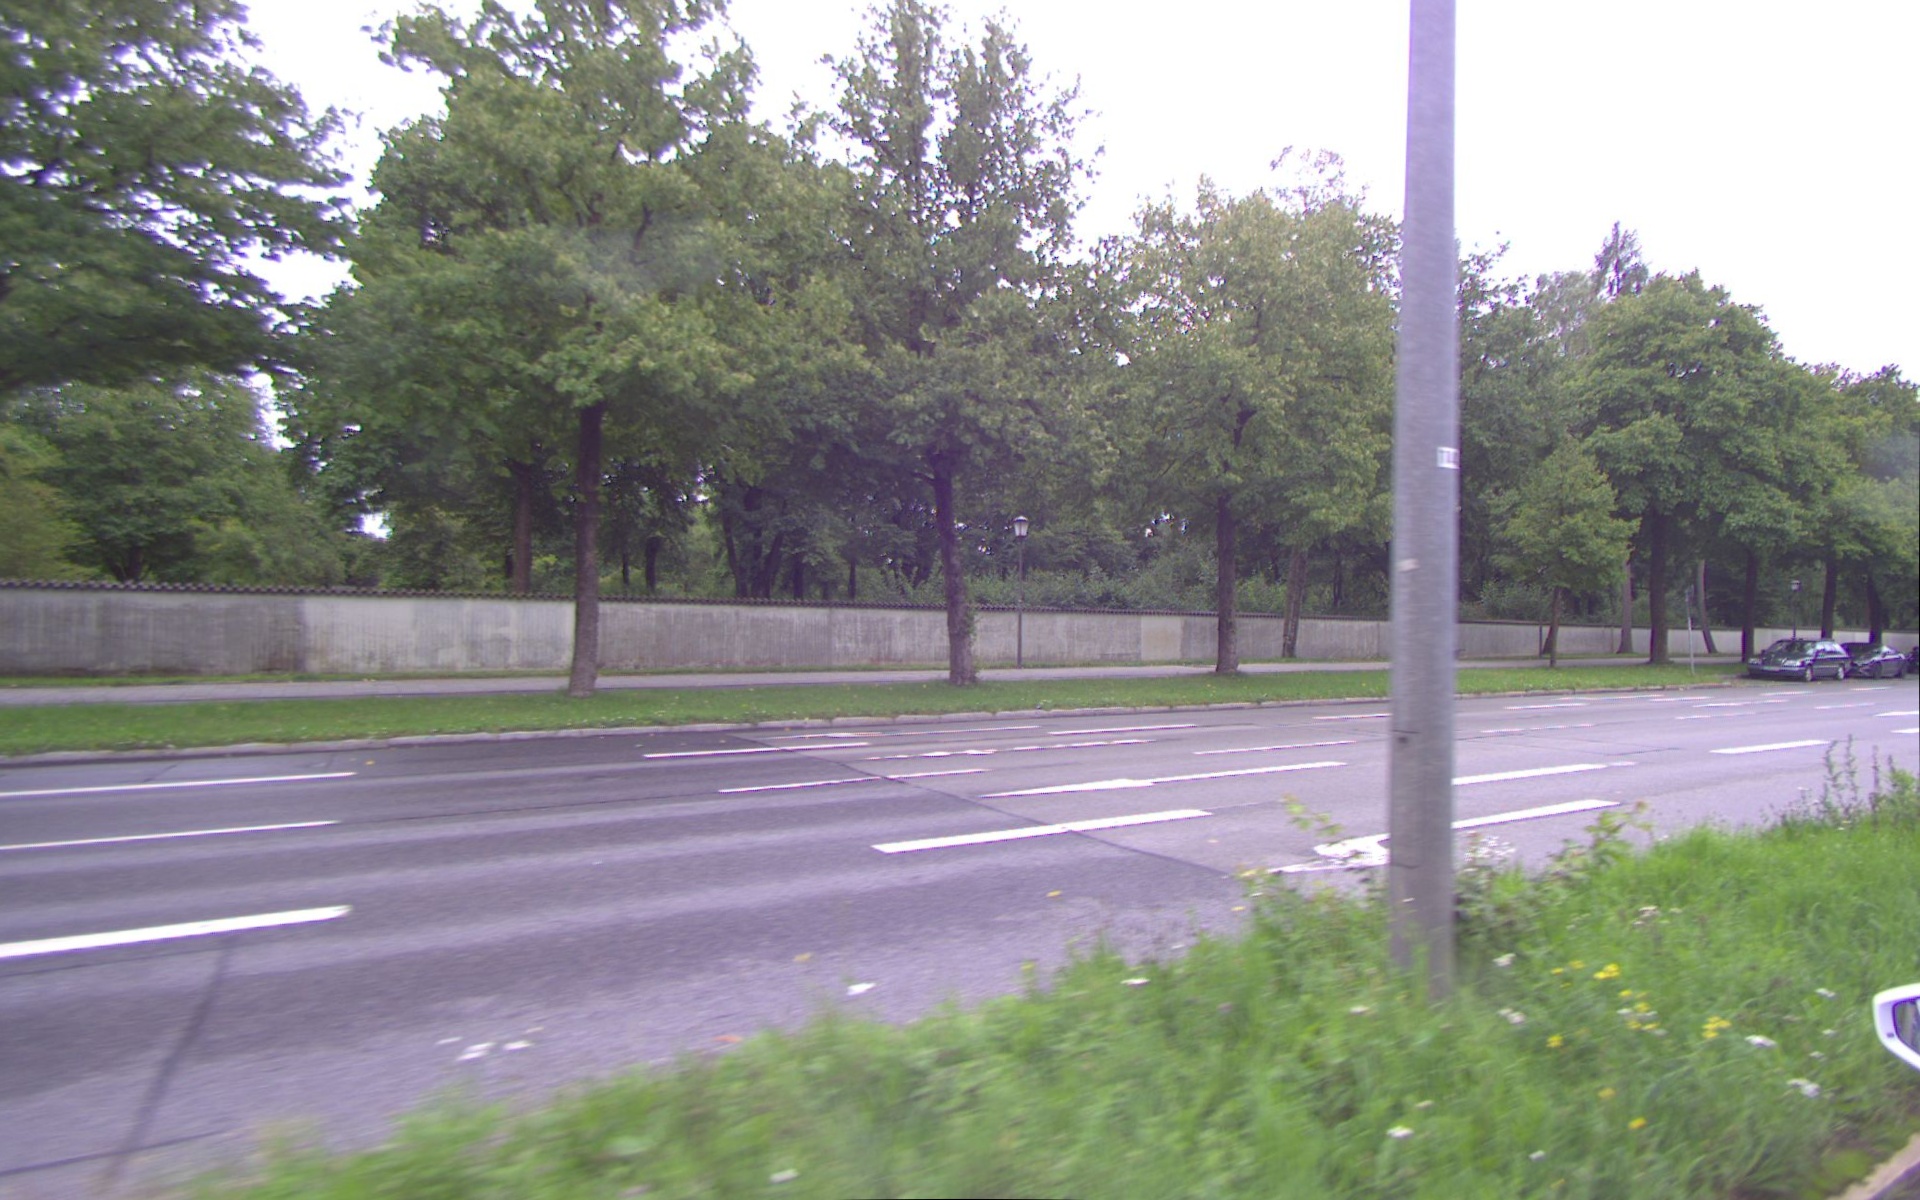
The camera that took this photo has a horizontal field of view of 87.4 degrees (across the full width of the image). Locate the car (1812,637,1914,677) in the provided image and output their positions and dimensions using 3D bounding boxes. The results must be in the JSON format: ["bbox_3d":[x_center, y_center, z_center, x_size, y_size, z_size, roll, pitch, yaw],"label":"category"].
[{"bbox_3d":[35.547,2.218,39.519,4.652,1.414,1.651,1,0,-31],"label":"car"}]

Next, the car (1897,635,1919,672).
[{"bbox_3d":[42.870,2.347,43.777,4.247,1.523,1.565,1,0,-27],"label":"car"}]

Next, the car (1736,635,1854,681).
[{"bbox_3d":[30.482,2.074,36.645,4.858,1.510,1.790,1,0,-31],"label":"car"}]
